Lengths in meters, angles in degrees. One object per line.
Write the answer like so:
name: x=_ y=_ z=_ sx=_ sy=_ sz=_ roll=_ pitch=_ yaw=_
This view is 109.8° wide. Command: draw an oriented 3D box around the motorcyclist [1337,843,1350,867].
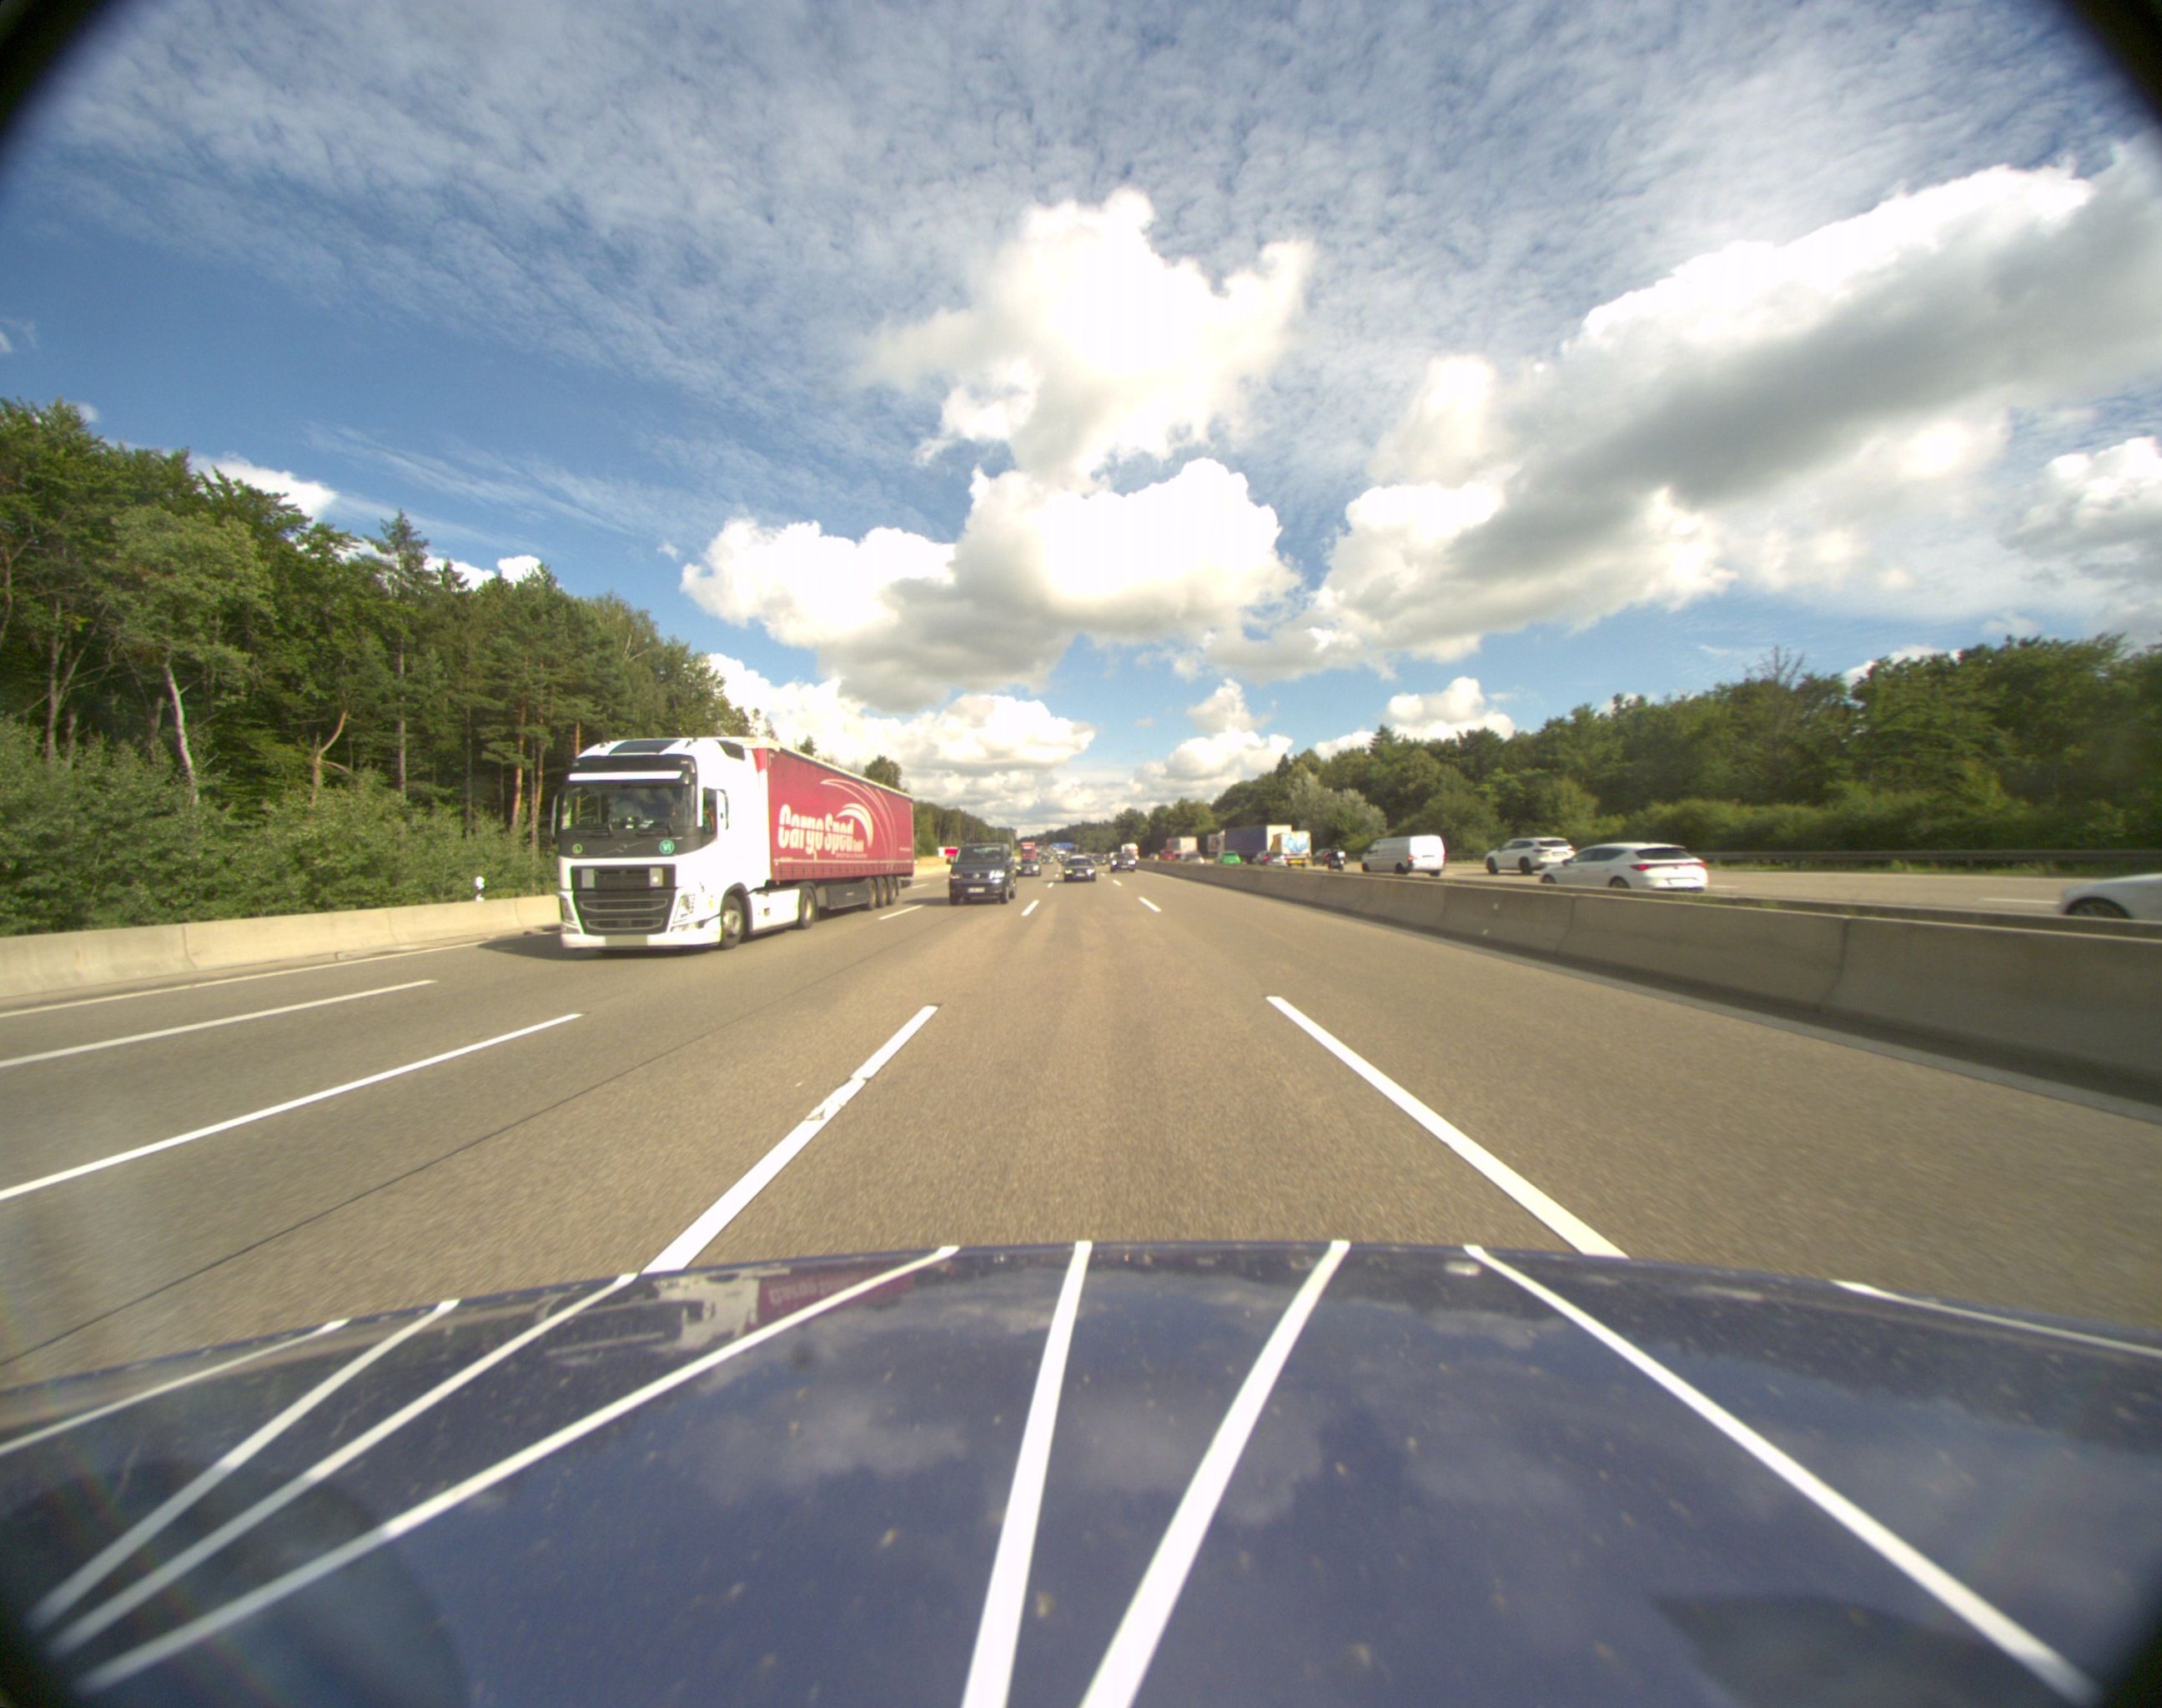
motorcyclist: x=16.661 y=0.046 z=48.251 sx=0.604 sy=1.467 sz=0.532 roll=-2 pitch=1 yaw=1

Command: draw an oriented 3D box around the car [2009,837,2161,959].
car: x=13.543 y=0.517 z=8.092 sx=1.685 sy=1.389 sz=4.715 roll=-2 pitch=0 yaw=3

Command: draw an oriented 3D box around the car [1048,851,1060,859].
car: x=-5.060 y=0.171 z=141.539 sx=2.153 sy=1.540 sz=4.675 roll=-2 pitch=0 yaw=-3

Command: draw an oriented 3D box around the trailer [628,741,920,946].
trailer: x=-7.575 y=-0.230 z=22.036 sx=2.781 sy=4.021 sz=13.712 roll=-2 pitch=0 yaw=0

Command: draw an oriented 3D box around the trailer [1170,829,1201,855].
trailer: x=16.108 y=-1.784 z=117.872 sx=2.975 sy=3.835 sz=11.279 roll=-2 pitch=0 yaw=0

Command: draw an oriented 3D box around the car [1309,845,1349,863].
car: x=21.515 y=-0.009 z=66.097 sx=2.059 sy=1.462 sz=4.403 roll=-2 pitch=0 yaw=0

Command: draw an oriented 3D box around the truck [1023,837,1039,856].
truck: x=-9.967 y=-1.423 z=150.055 sx=3.019 sy=3.662 sz=7.558 roll=-1 pitch=0 yaw=-4

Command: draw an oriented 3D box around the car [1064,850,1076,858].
car: x=-2.265 y=-0.044 z=152.363 sx=2.153 sy=1.540 sz=4.675 roll=-2 pitch=0 yaw=-3

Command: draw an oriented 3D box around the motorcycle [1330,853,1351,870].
motorcycle: x=16.689 y=0.477 z=48.848 sx=0.611 sy=1.034 sz=2.175 roll=-2 pitch=0 yaw=1

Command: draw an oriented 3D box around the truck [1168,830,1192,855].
truck: x=16.033 y=-1.860 z=123.494 sx=2.975 sy=3.835 sz=6.763 roll=-2 pitch=0 yaw=-1

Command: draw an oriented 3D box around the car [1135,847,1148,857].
car: x=11.896 y=-0.355 z=149.913 sx=1.854 sy=1.867 sz=4.614 roll=-2 pitch=0 yaw=-3

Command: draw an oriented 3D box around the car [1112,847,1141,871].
car: x=3.752 y=0.394 z=63.401 sx=2.152 sy=1.800 sz=5.099 roll=-2 pitch=1 yaw=2

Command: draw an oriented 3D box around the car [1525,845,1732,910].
car: x=13.563 y=0.507 z=19.254 sx=1.774 sy=1.386 sz=4.690 roll=-2 pitch=0 yaw=-1

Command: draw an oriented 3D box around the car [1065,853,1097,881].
car: x=0.012 y=0.712 z=44.188 sx=1.733 sy=1.500 sz=4.727 roll=-2 pitch=0 yaw=0

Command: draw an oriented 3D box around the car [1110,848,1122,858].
car: x=6.997 y=-0.264 z=152.145 sx=1.854 sy=1.867 sz=4.614 roll=-2 pitch=0 yaw=-3

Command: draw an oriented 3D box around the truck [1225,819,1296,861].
truck: x=19.286 y=-1.429 z=82.849 sx=2.828 sy=4.070 sz=13.835 roll=-2 pitch=0 yaw=-7

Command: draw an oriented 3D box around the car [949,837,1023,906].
car: x=-3.174 y=0.529 z=26.314 sx=1.854 sy=2.097 sz=4.932 roll=-2 pitch=0 yaw=0

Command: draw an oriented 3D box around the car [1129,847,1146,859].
car: x=9.375 y=-0.150 z=127.102 sx=2.177 sy=1.867 sz=5.360 roll=-2 pitch=0 yaw=-2

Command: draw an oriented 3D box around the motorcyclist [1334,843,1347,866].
motorcyclist: x=16.665 y=0.037 z=48.854 sx=0.604 sy=1.467 sz=0.532 roll=-2 pitch=1 yaw=1

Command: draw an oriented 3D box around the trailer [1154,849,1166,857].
trailer: x=14.986 y=-0.258 z=143.993 sx=1.539 sy=1.394 sz=4.178 roll=-2 pitch=0 yaw=-3

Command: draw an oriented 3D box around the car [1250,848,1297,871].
car: x=13.874 y=0.366 z=54.965 sx=2.176 sy=1.462 sz=4.785 roll=-2 pitch=0 yaw=0

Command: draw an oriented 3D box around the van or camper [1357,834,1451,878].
van or camper: x=15.671 y=0.093 z=37.237 sx=1.999 sy=1.926 sz=5.456 roll=-2 pitch=0 yaw=-3

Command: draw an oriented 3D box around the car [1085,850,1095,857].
car: x=2.147 y=-0.165 z=179.439 sx=2.153 sy=1.540 sz=4.675 roll=-2 pitch=0 yaw=-3

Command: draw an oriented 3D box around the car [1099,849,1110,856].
car: x=5.605 y=-0.359 z=182.848 sx=2.161 sy=1.690 sz=5.348 roll=-2 pitch=0 yaw=-3

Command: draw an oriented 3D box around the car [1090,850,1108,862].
car: x=2.423 y=0.247 z=103.757 sx=2.153 sy=1.540 sz=4.675 roll=-2 pitch=0 yaw=-3

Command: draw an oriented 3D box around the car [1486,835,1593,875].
car: x=21.505 y=0.040 z=35.944 sx=2.176 sy=1.674 sz=4.785 roll=-2 pitch=0 yaw=0

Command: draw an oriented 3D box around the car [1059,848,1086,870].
car: x=-0.713 y=0.415 z=66.544 sx=2.153 sy=1.800 sz=5.098 roll=-2 pitch=1 yaw=0

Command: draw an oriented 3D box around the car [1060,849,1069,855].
car: x=-4.021 y=-0.490 z=185.435 sx=2.153 sy=1.540 sz=4.675 roll=-2 pitch=0 yaw=-3

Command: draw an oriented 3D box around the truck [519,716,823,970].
truck: x=-7.571 y=-0.183 z=15.125 sx=2.781 sy=4.022 sz=5.772 roll=-2 pitch=0 yaw=0

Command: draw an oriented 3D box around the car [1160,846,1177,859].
car: x=12.689 y=-0.241 z=110.975 sx=1.852 sy=1.929 sz=5.033 roll=0 pitch=0 yaw=-1

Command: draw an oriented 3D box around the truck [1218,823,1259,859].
truck: x=18.458 y=-1.491 z=89.390 sx=2.828 sy=4.070 sz=6.057 roll=-2 pitch=0 yaw=-7

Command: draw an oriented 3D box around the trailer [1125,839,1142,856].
trailer: x=13.243 y=-1.593 z=192.429 sx=2.795 sy=3.922 sz=12.249 roll=-2 pitch=0 yaw=-2

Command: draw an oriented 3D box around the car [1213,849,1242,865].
car: x=13.409 y=0.247 z=69.624 sx=1.788 sy=1.462 sz=4.330 roll=0 pitch=0 yaw=0

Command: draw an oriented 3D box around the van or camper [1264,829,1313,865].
van or camper: x=17.457 y=-0.569 z=64.251 sx=2.380 sy=2.875 sz=6.505 roll=0 pitch=0 yaw=0

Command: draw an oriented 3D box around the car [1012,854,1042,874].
car: x=-4.188 y=0.762 z=59.512 sx=2.153 sy=1.426 sz=5.097 roll=-2 pitch=0 yaw=-3

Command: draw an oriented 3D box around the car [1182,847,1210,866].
car: x=10.103 y=0.205 z=66.797 sx=1.867 sy=1.543 sz=4.662 roll=-2 pitch=0 yaw=2
